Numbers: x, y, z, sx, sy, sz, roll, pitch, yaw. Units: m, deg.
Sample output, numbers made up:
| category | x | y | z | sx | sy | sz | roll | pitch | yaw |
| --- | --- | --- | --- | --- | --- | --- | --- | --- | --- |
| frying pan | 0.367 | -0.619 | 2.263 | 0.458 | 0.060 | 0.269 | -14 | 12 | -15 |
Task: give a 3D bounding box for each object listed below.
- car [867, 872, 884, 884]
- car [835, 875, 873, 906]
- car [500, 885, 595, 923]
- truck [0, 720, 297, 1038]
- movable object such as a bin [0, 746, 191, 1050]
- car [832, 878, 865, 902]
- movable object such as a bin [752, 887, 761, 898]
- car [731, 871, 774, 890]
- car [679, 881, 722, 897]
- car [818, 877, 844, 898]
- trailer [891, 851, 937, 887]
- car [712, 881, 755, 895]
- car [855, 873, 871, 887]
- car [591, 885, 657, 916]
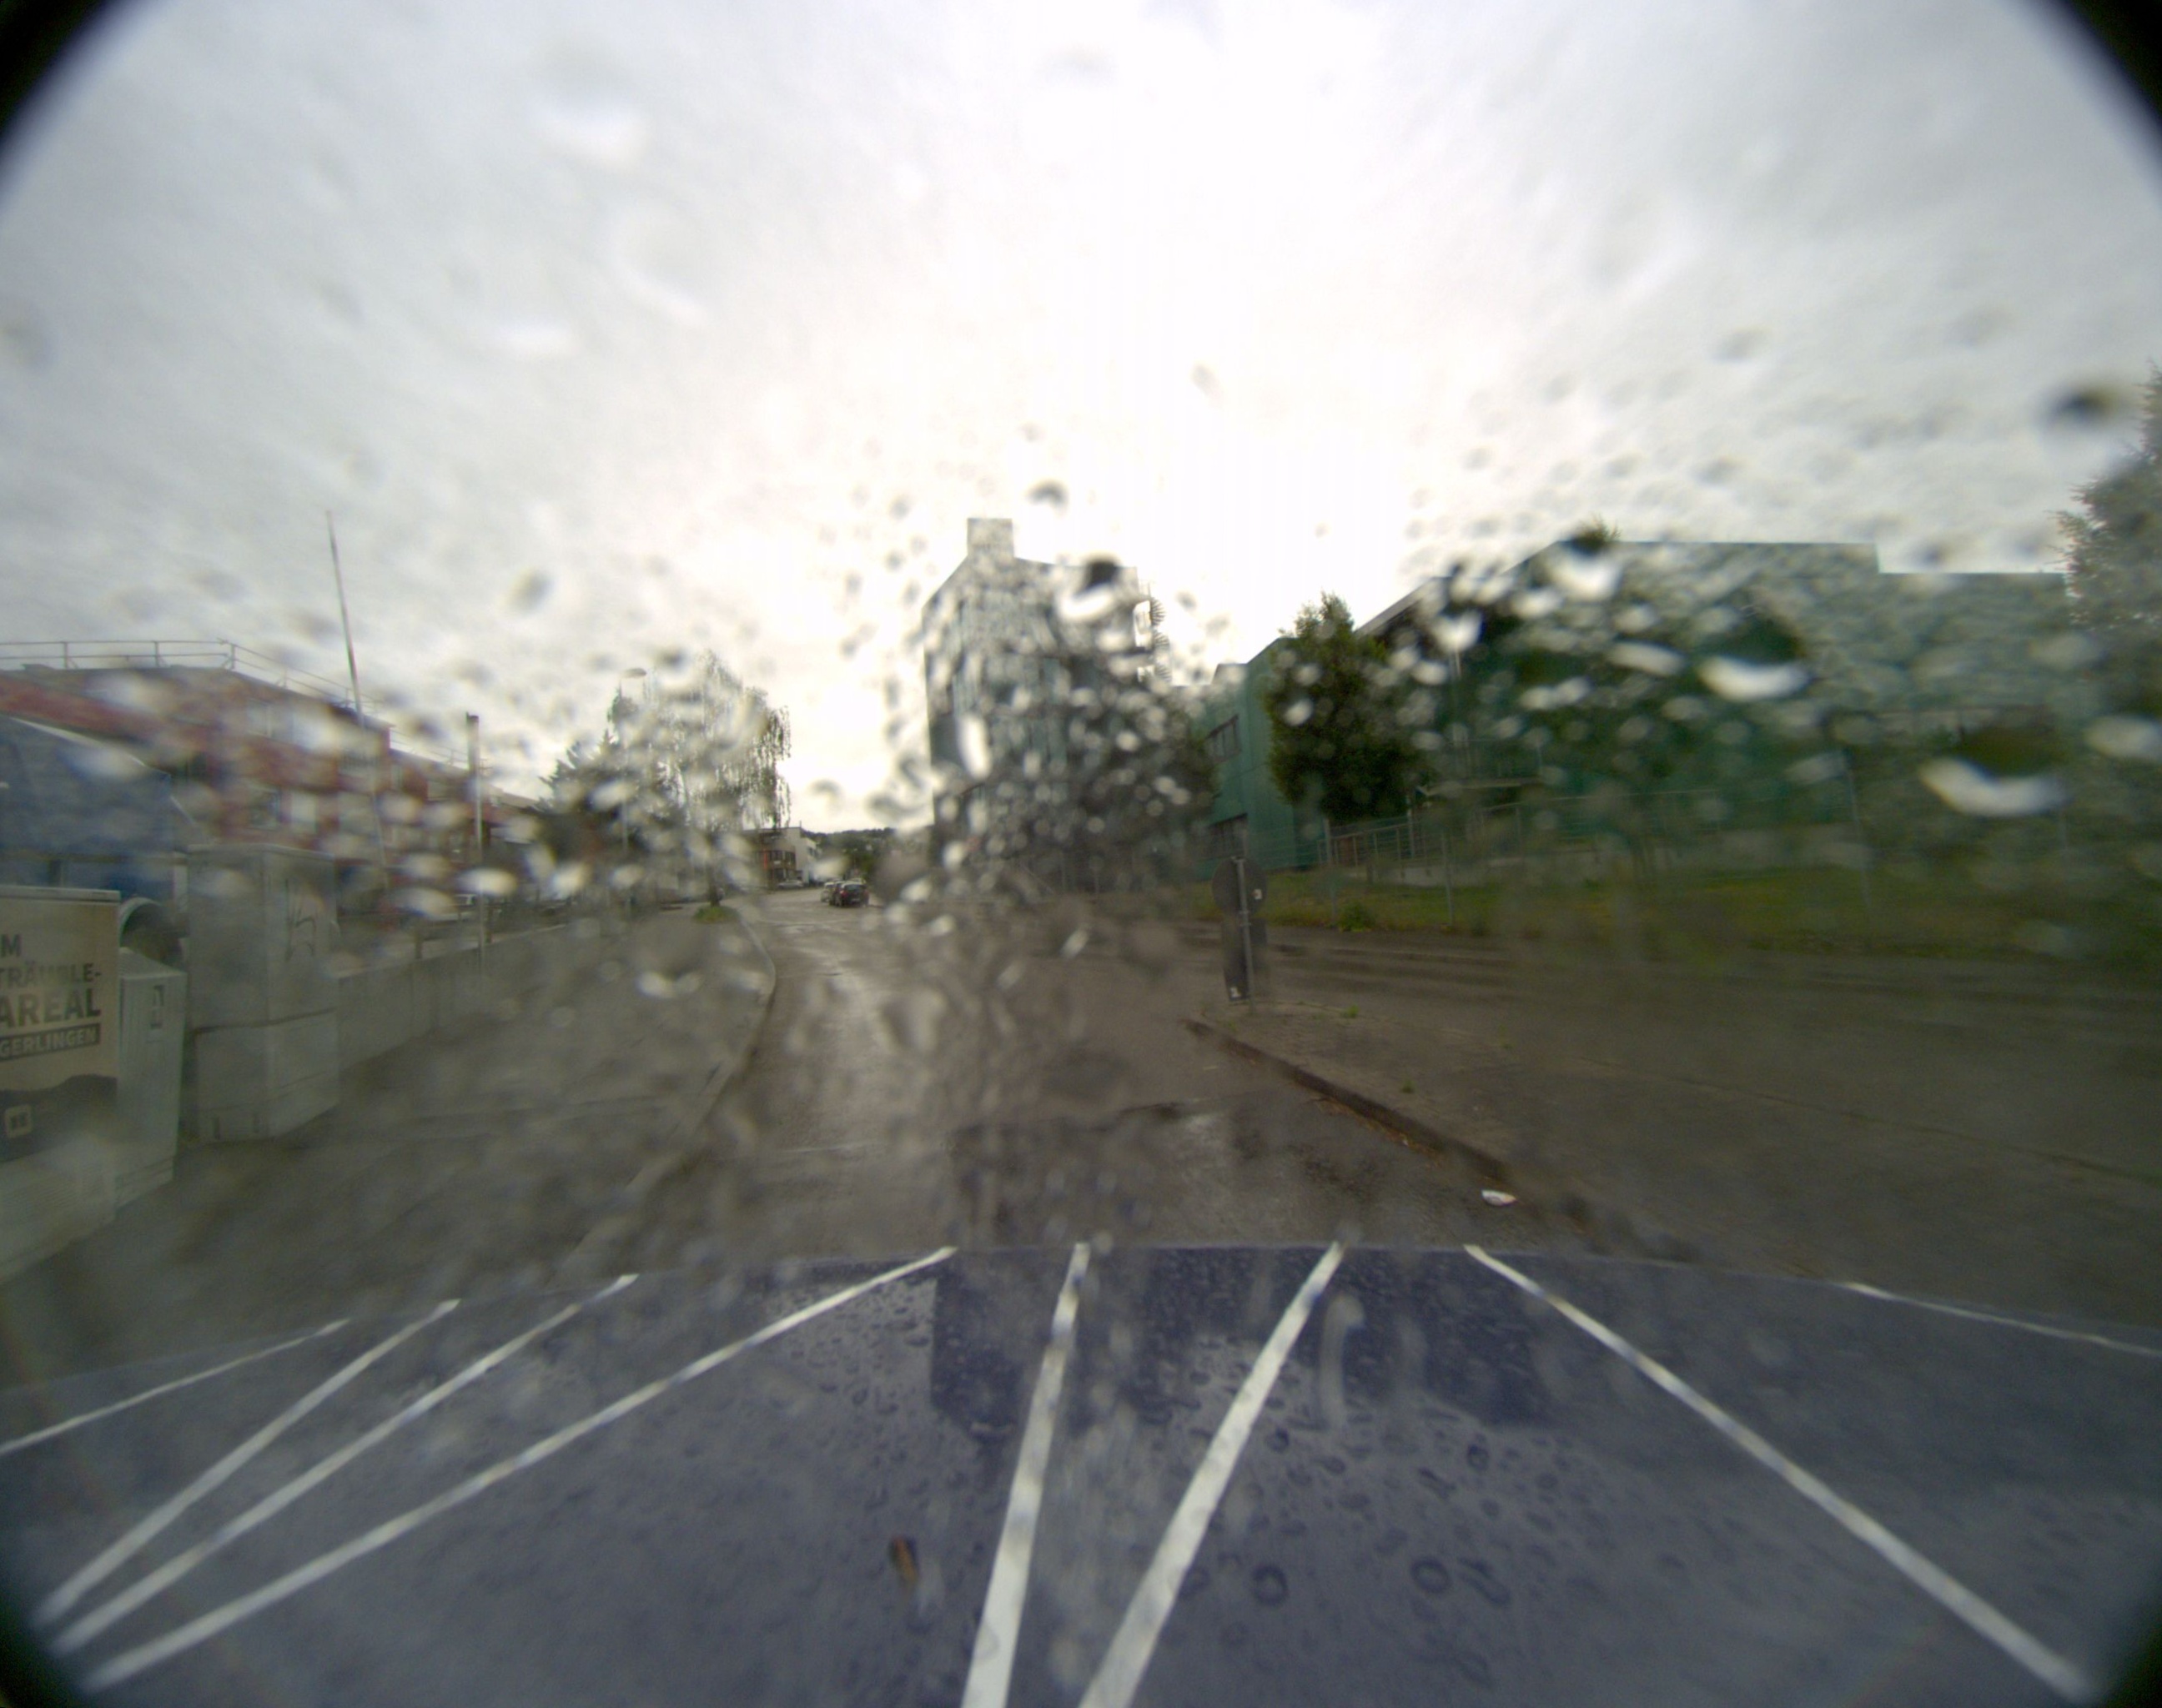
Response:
| category | x | y | z | sx | sy | sz | roll | pitch | yaw |
| --- | --- | --- | --- | --- | --- | --- | --- | --- | --- |
| car | -35.106 | 4.128 | 129.804 | 1.999 | 2.001 | 3.999 | -2 | -1 | -5 |
| car | -14.183 | 2.254 | 47.415 | 1.747 | 1.786 | 3.952 | -2 | -1 | -23 |
| car | -26.665 | 2.443 | 38.192 | 2.002 | 1.569 | 4.509 | -4 | -1 | -8 |
| truck | -8.510 | 0.205 | 5.037 | 2.114 | 2.201 | 5.645 | -2 | -1 | -17 |
| movable object such as a bin | -6.240 | 0.253 | 4.066 | 1.312 | 1.491 | 1.855 | -2 | -1 | -29 |
| car | -16.096 | 2.453 | 52.443 | 1.639 | 1.548 | 4.077 | -2 | -1 | -24 |
| movable object such as a bin | -32.443 | 3.822 | 75.892 | 0.737 | 1.084 | 0.593 | -2 | 0 | -17 |
| car | -46.155 | 3.715 | 106.865 | 5.156 | 2.280 | 2.201 | -3 | -1 | -9 |
| car | -40.531 | 3.699 | 80.907 | 3.753 | 1.531 | 1.629 | -2 | -1 | -13 |
| car | -20.544 | 2.733 | 62.448 | 1.742 | 1.527 | 4.243 | -3 | -1 | -22 |
| trailer | -19.875 | 1.840 | 90.436 | 4.688 | 4.065 | 2.393 | -3 | 0 | 27 |
| car | -44.517 | 4.345 | 97.333 | 4.627 | 1.488 | 1.939 | -2 | -1 | -11 |
| car | -31.449 | 3.676 | 109.451 | 2.001 | 1.902 | 3.995 | -2 | -1 | -18 |
| car | -32.553 | 3.294 | 54.199 | 3.445 | 1.491 | 1.617 | -11 | 0 | -9 |
